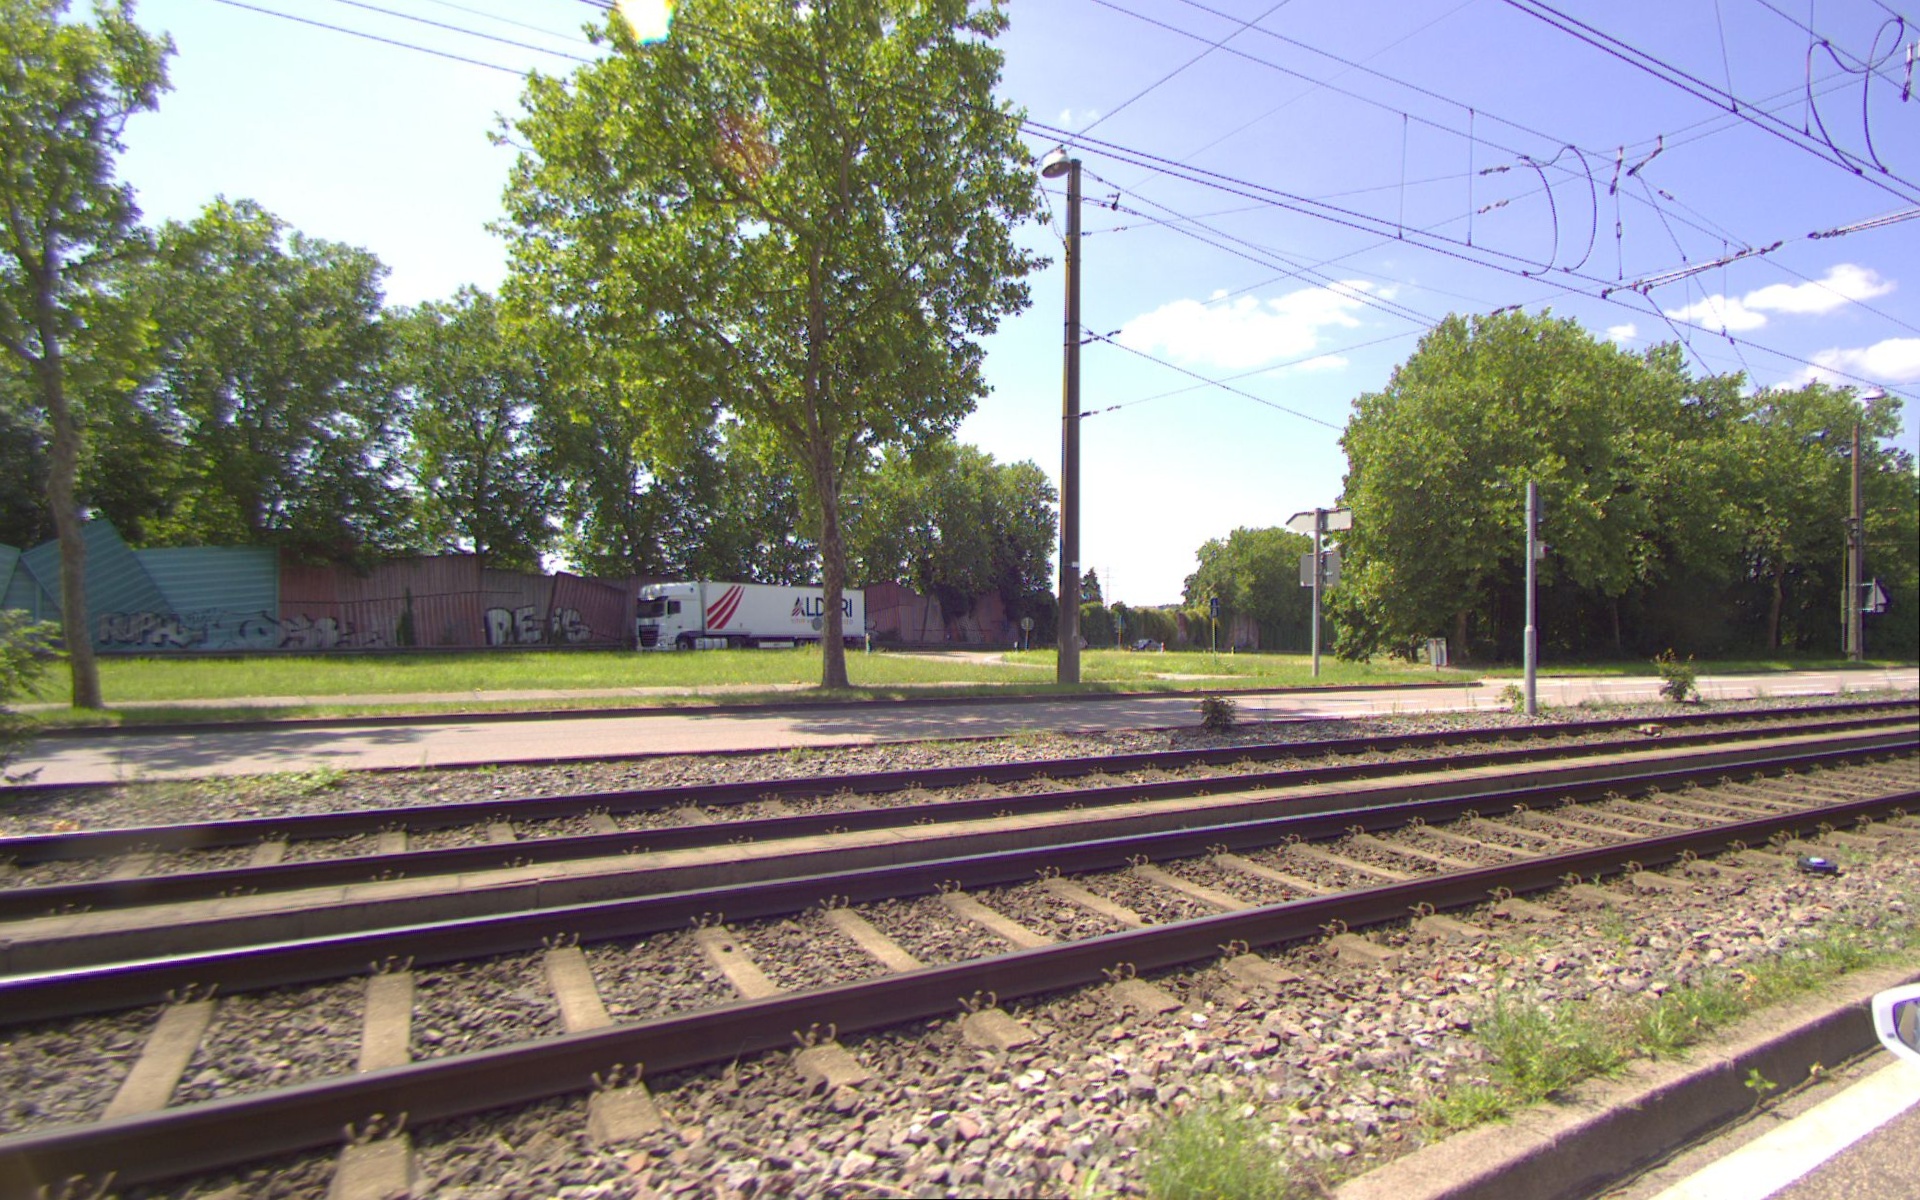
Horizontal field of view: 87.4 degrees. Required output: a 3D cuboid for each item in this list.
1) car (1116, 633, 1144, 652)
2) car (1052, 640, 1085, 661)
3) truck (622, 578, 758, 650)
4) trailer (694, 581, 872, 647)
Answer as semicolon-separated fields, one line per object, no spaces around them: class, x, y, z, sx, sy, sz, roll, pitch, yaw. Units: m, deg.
car;17.434;4.338;102.714;1.539;1.815;3.389;0;-1;35
car;9.842;4.576;90.898;1.539;1.815;3.389;0;-1;35
truck;-14.845;0.800;55.708;3.361;3.751;6.740;0;-1;34
trailer;-10.581;0.935;62.021;3.332;3.703;12.072;0;-1;34
